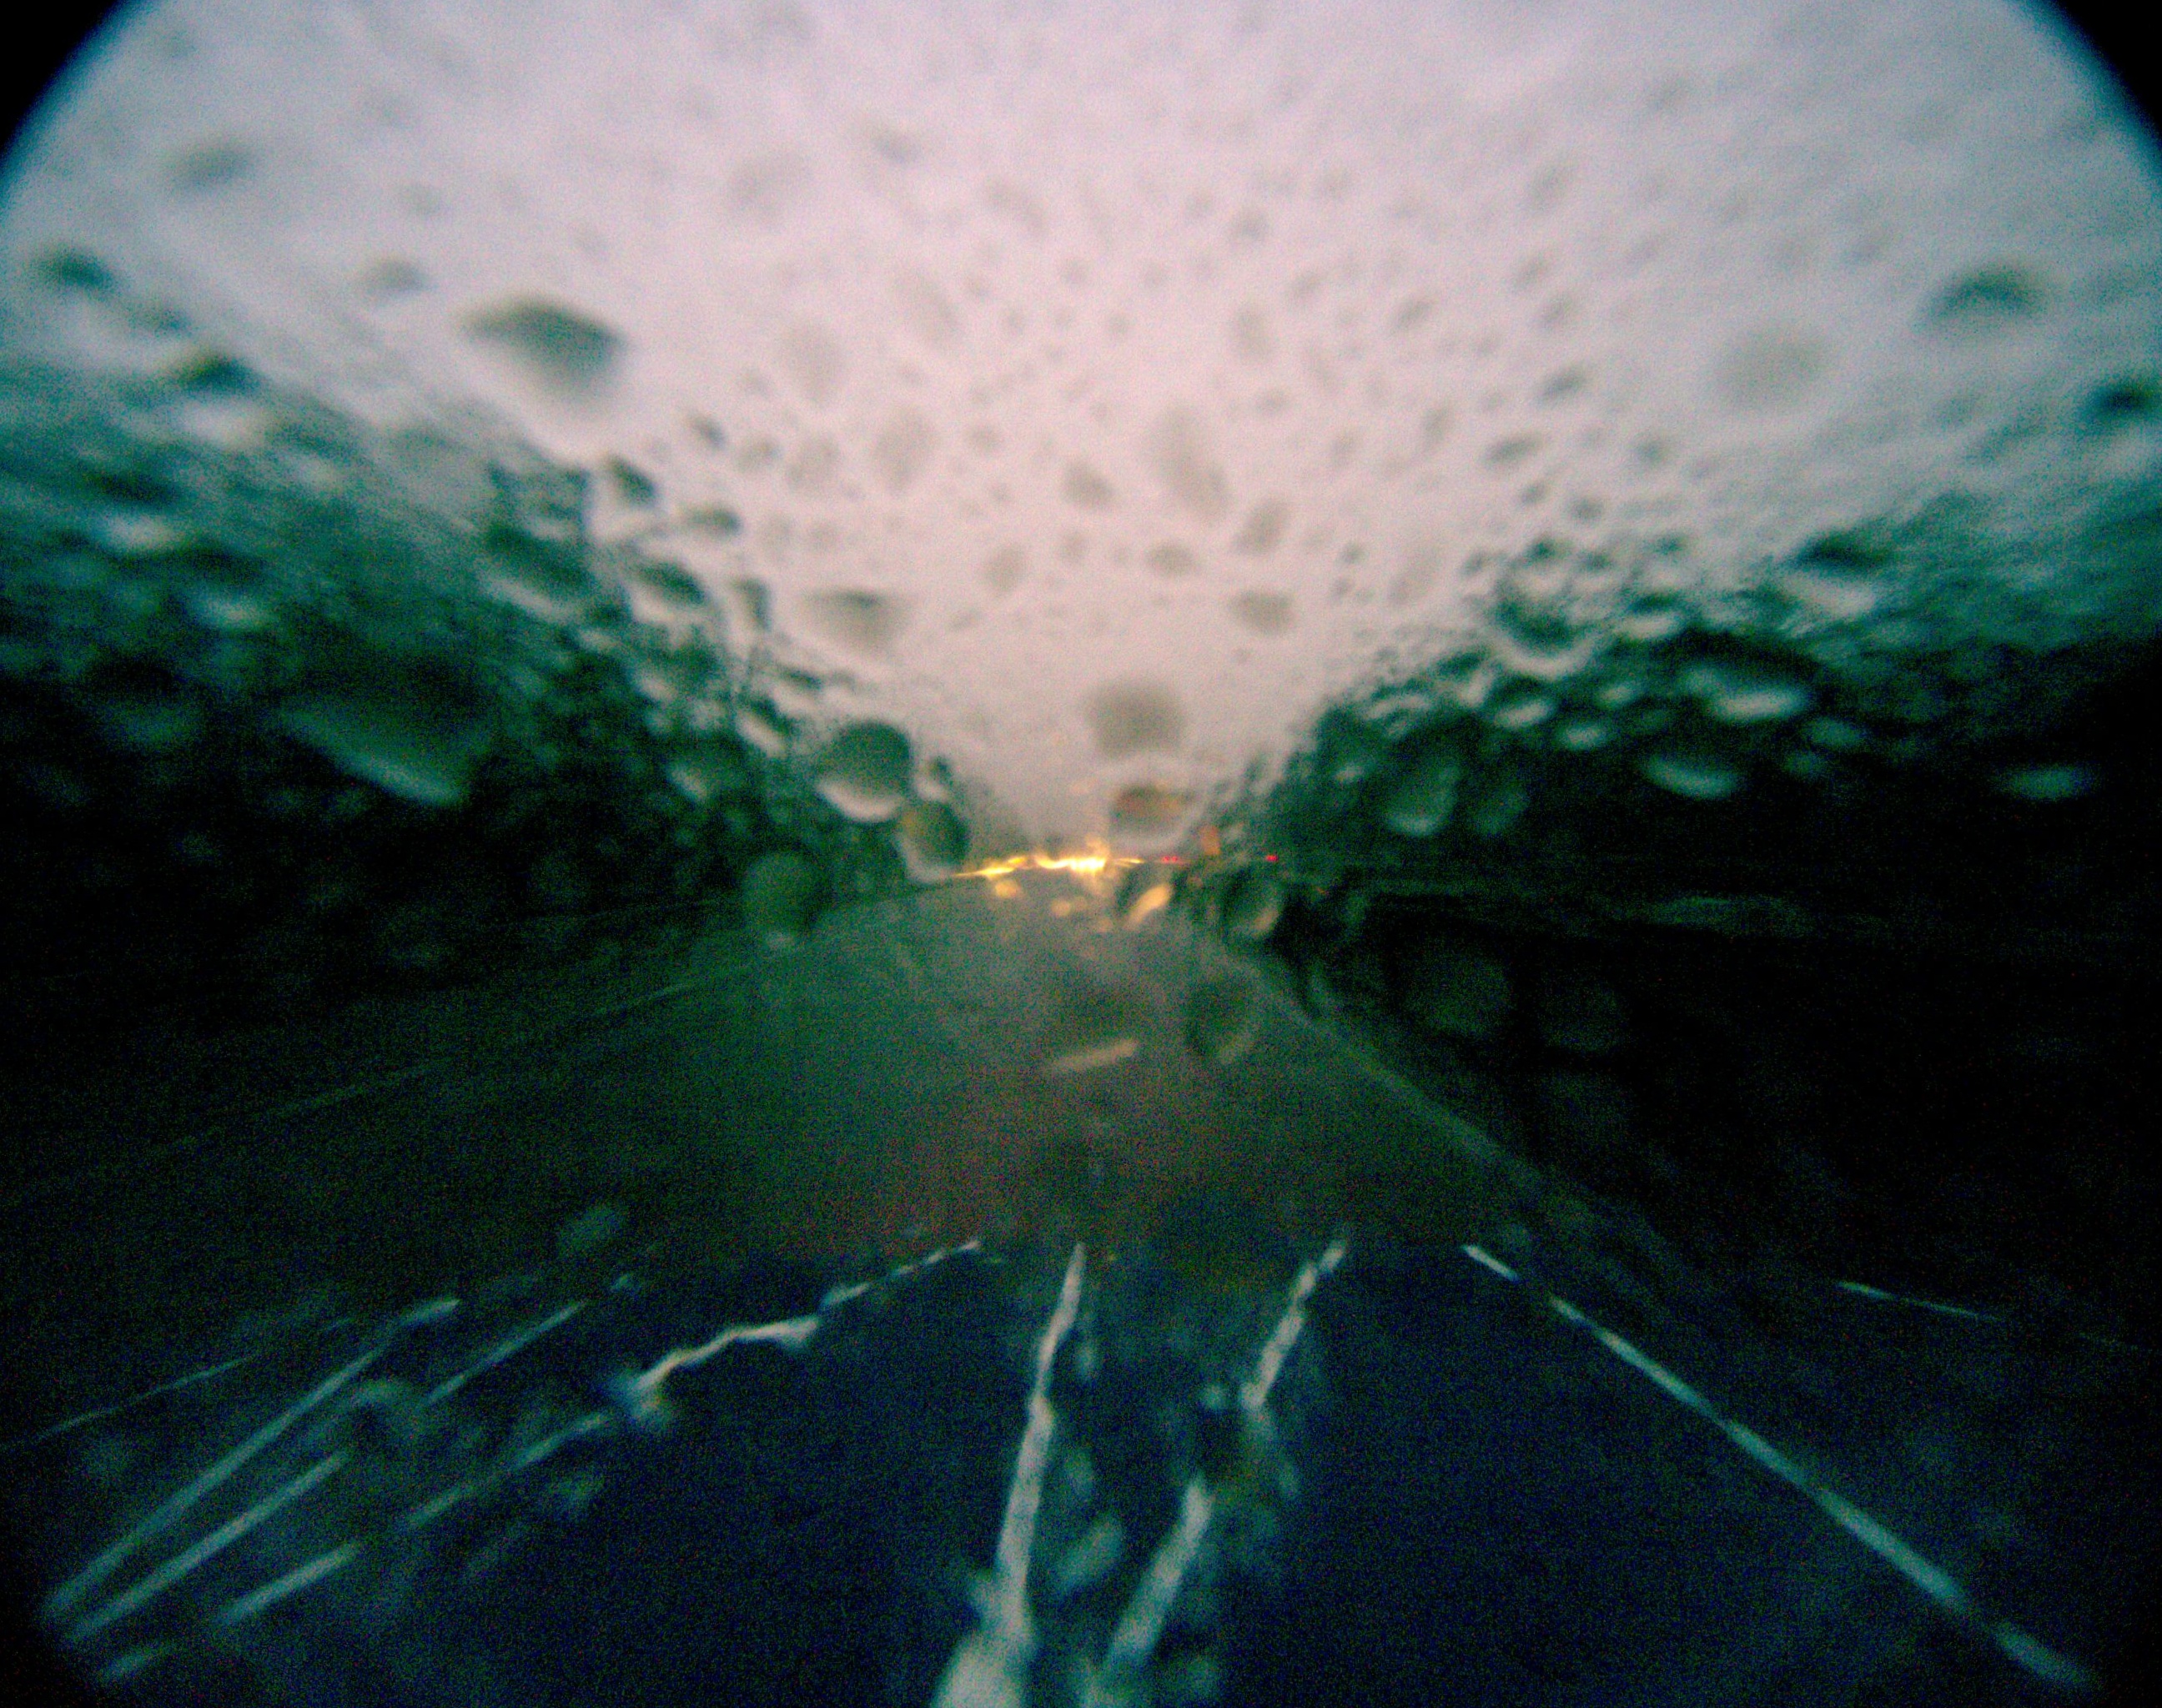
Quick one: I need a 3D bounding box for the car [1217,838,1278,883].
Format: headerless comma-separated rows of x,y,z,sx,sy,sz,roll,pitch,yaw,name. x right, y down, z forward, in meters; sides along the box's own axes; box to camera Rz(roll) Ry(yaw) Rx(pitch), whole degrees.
8.066,0.295,37.257,1.937,2.002,4.639,-2,0,0,car

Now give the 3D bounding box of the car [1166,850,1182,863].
14.898,0.412,121.730,1.998,1.938,4.712,-2,0,2,car
